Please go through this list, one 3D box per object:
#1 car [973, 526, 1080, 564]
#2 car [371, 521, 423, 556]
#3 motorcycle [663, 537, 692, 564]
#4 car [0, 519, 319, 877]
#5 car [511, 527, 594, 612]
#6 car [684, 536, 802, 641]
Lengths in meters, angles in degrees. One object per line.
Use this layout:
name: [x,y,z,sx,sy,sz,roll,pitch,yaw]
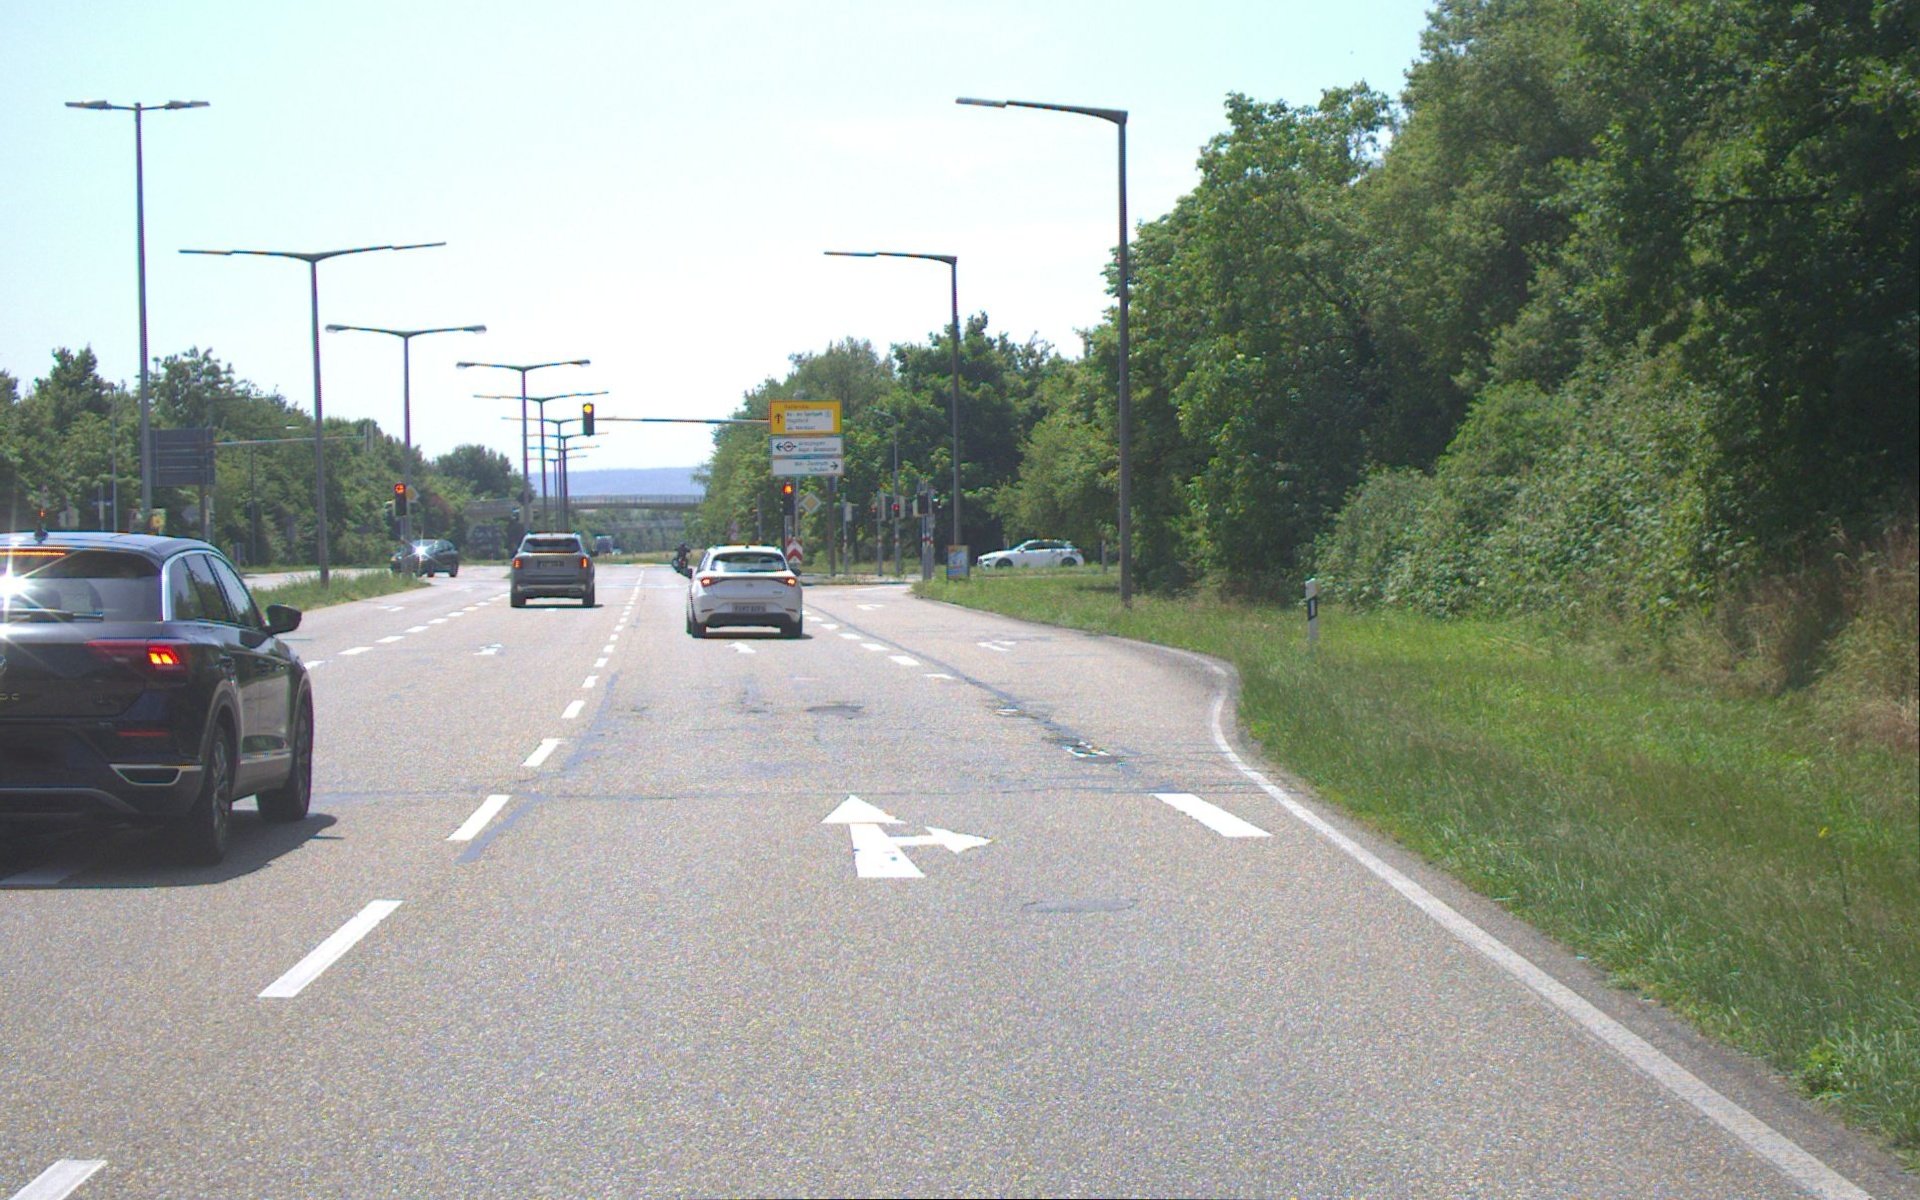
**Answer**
car: [2.779,-2.298,143.253,4.100,1.520,1.939,-1,1,-13]
car: [-25.220,-2.754,154.012,1.828,1.514,4.001,0,1,-2]
motorcycle: [-14.209,-2.507,172.928,1.424,1.276,2.569,-2,1,-5]
car: [-4.271,0.398,16.937,1.755,1.550,4.001,0,1,-4]
car: [-9.468,-0.722,80.093,1.755,1.922,4.001,0,1,-4]
car: [-3.462,-0.211,55.094,1.797,1.577,4.001,-1,1,-3]
